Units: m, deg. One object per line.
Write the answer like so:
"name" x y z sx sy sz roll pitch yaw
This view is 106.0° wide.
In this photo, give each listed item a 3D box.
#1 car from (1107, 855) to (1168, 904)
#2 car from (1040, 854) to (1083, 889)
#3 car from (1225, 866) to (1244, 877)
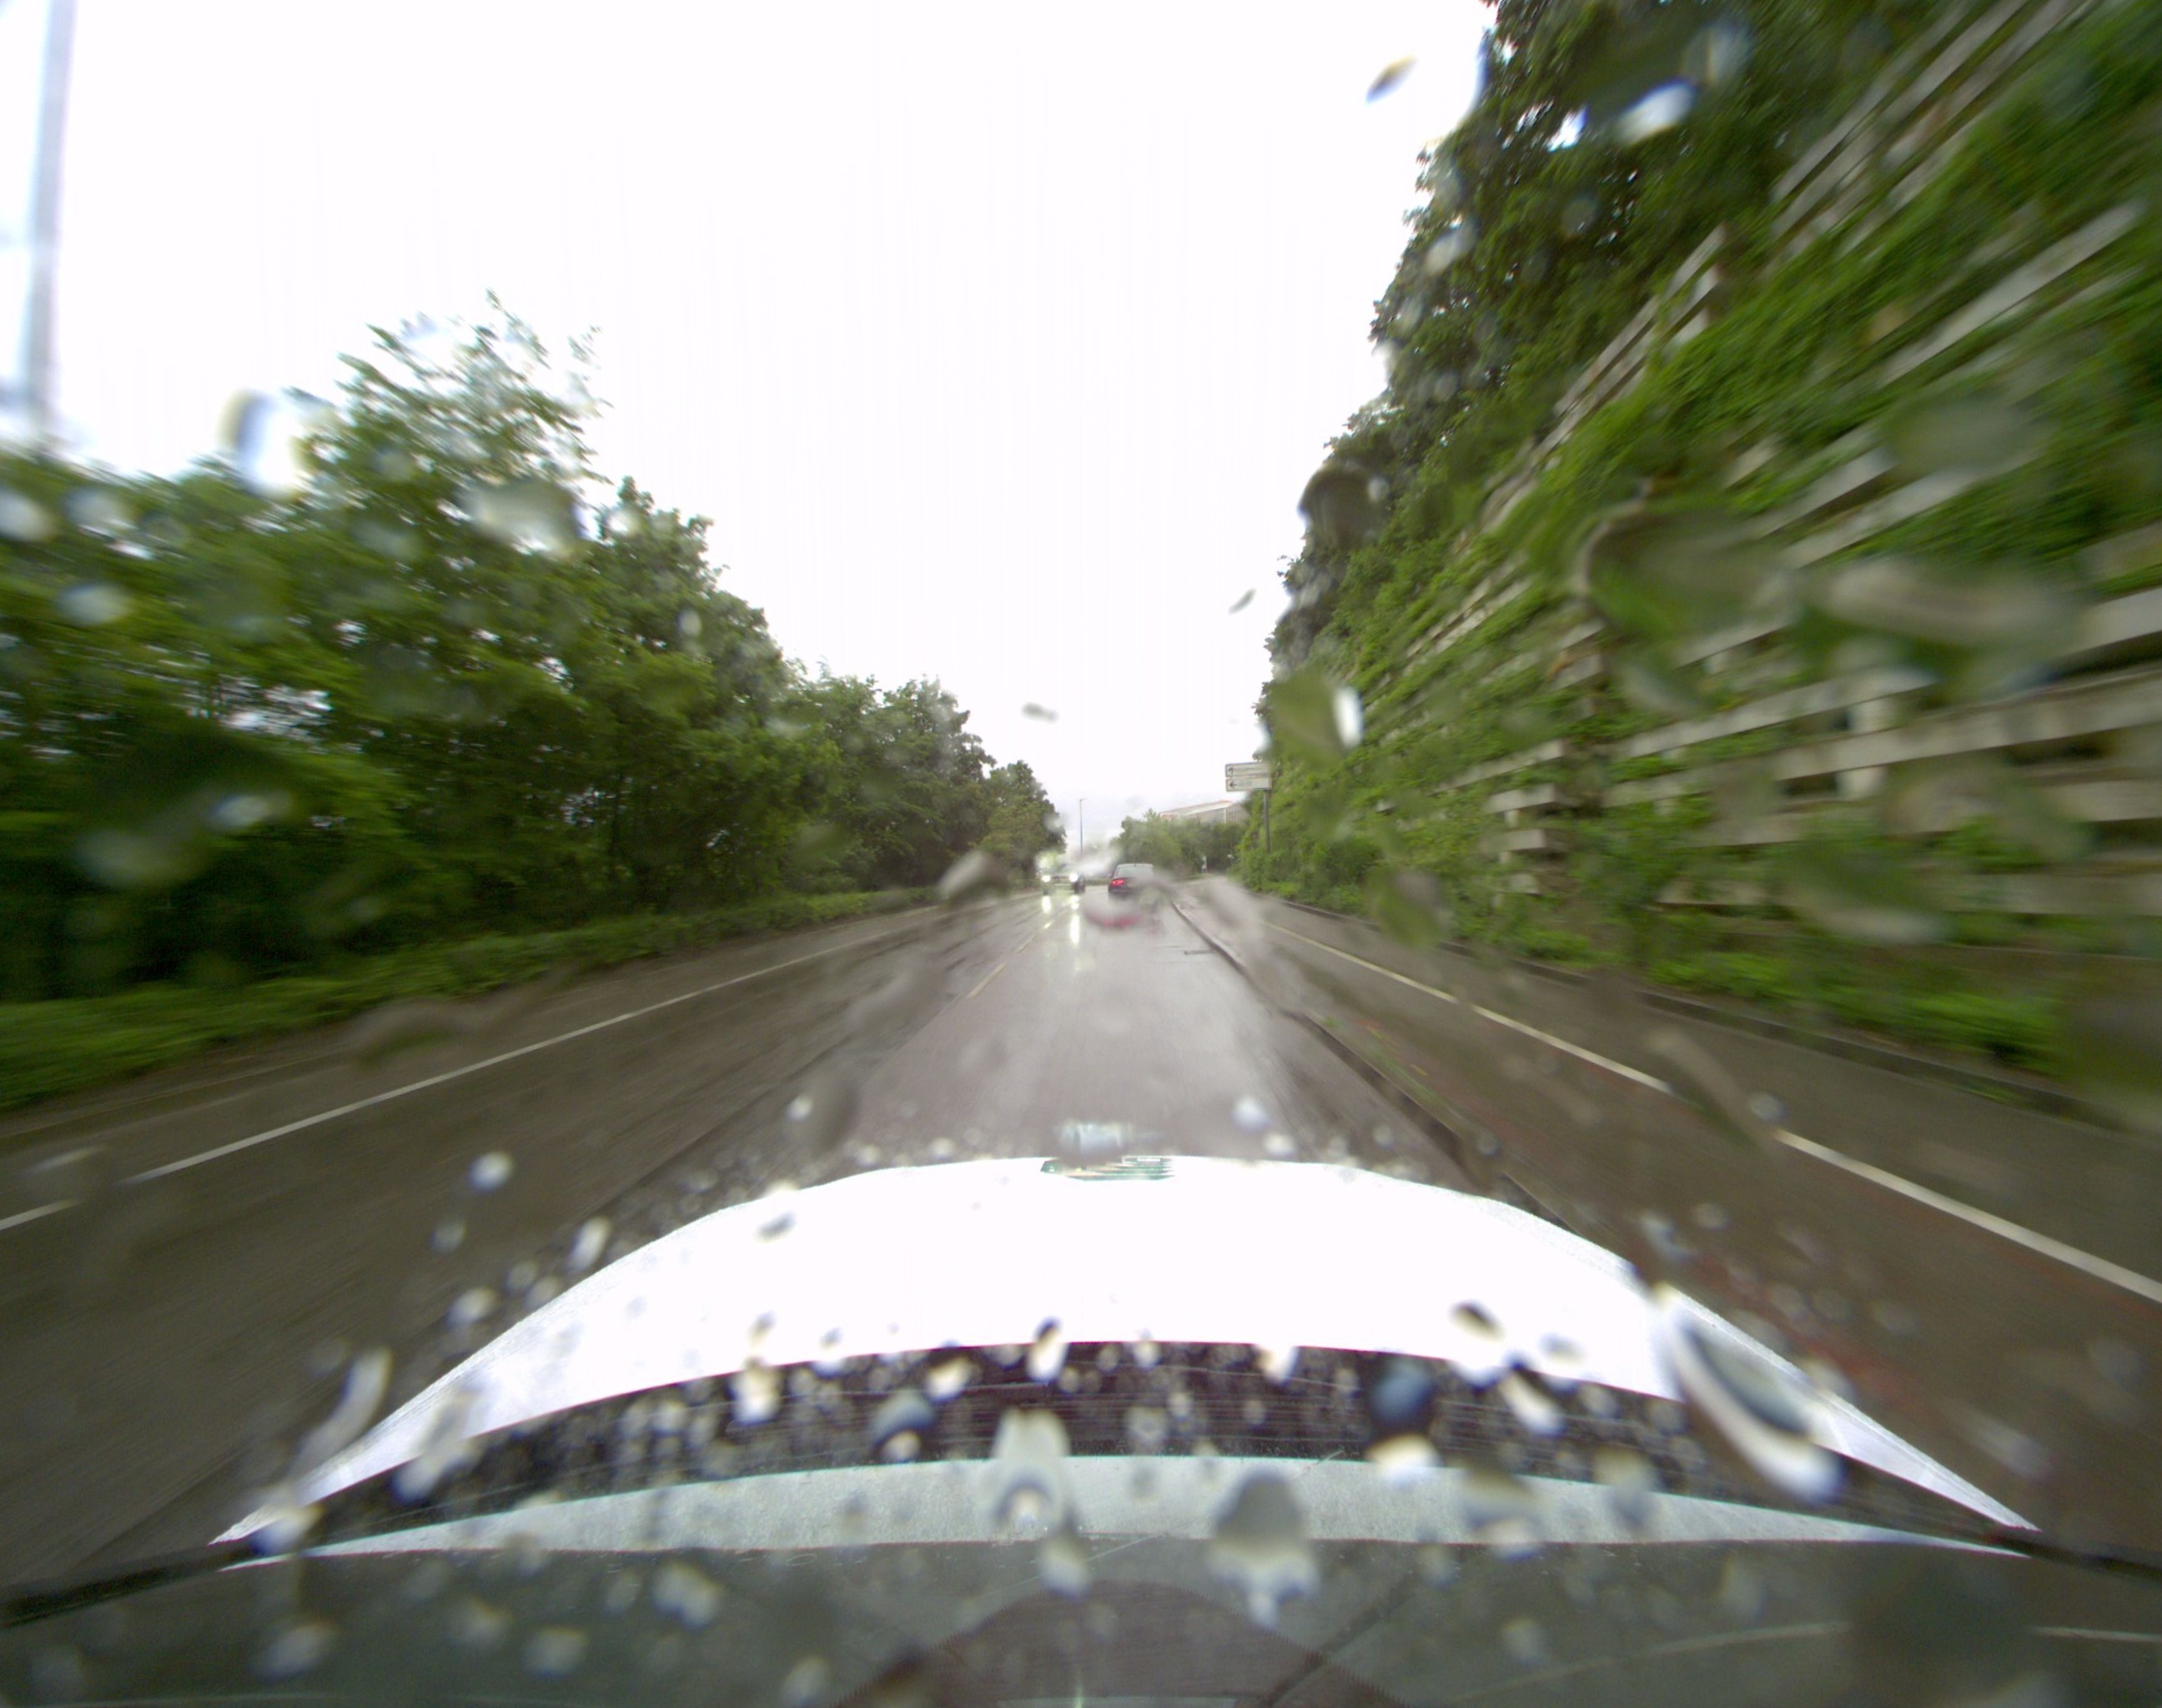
"car" 1.925 0.814 27.498 1.884 1.492 4.212 -1 0 4
"car" -0.975 0.906 43.067 1.822 1.706 4.337 -1 0 3
"car" 26.600 2.955 141.083 1.974 1.741 4.025 -3 -1 31
